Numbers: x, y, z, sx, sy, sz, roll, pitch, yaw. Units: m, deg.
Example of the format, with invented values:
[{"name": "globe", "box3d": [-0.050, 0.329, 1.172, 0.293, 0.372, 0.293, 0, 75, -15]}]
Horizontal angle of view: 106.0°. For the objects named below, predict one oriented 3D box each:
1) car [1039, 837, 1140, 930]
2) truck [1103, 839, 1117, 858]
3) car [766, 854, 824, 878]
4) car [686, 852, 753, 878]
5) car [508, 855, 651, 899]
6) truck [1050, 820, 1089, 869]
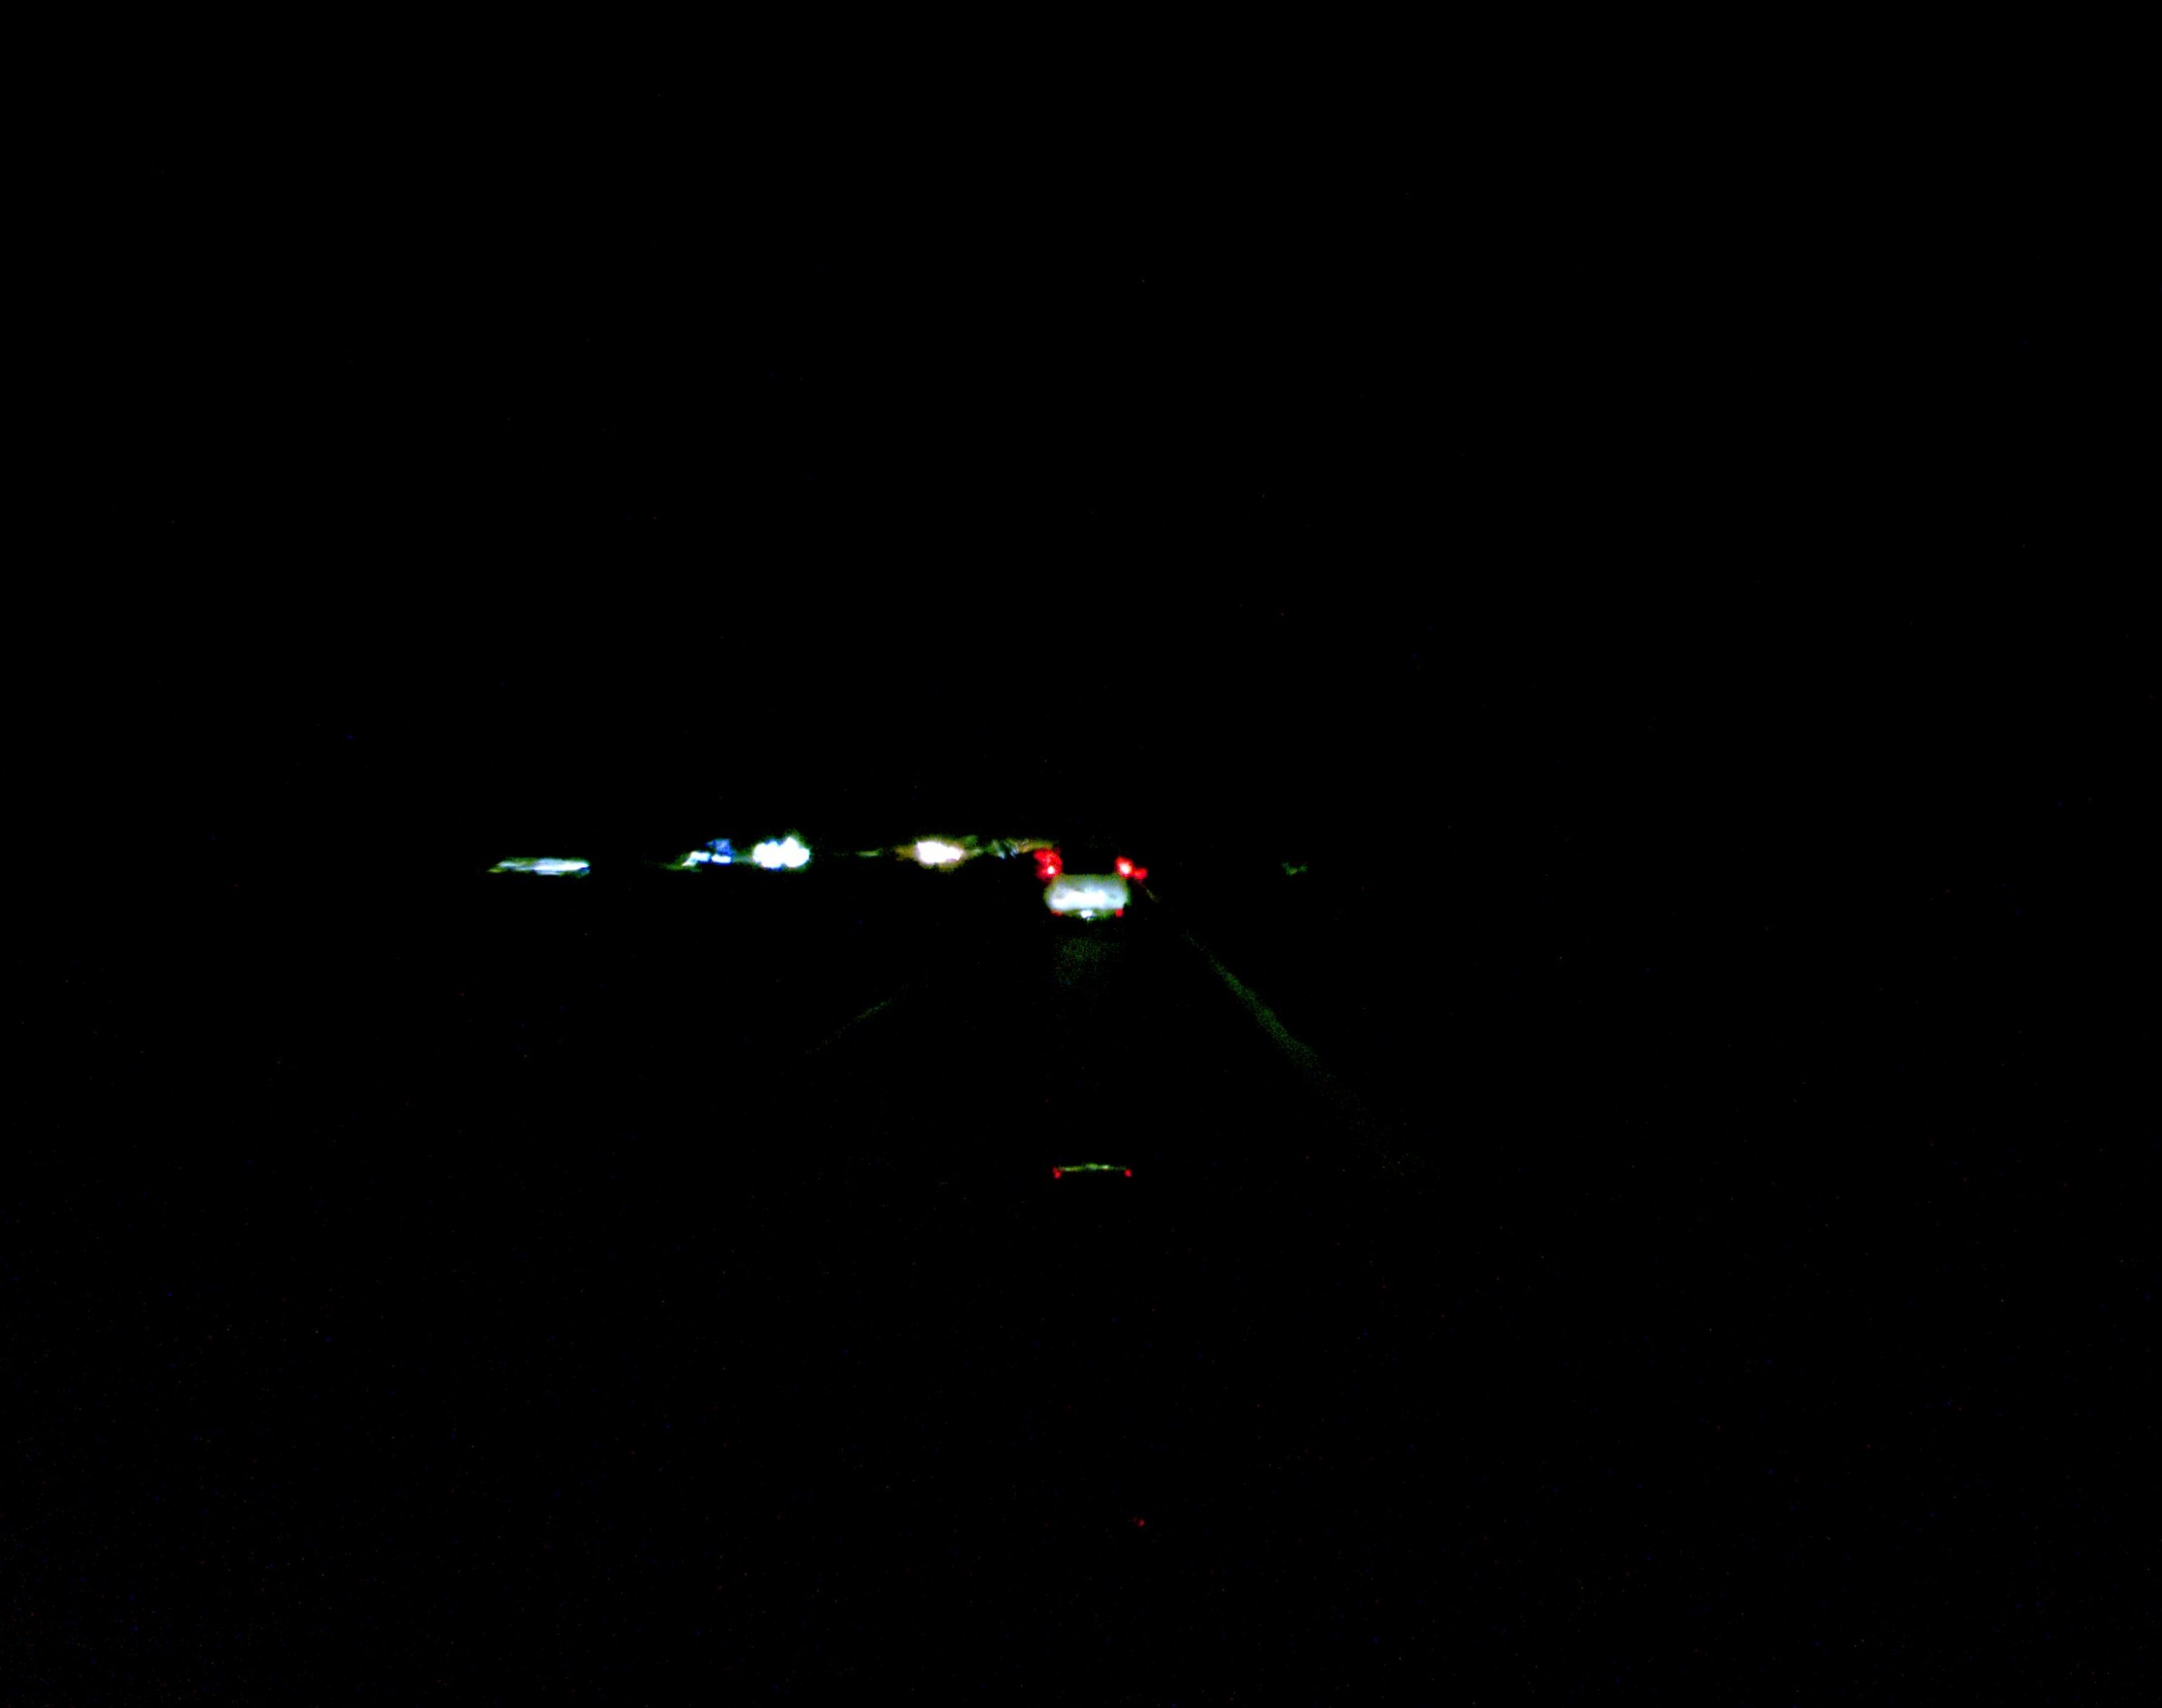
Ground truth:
[{"name": "car", "box3d": [0.221, 0.575, 18.391, 1.946, 1.792, 5.125, 0, 0, 1]}, {"name": "truck", "box3d": [7.761, -1.367, 218.745, 3.810, 4.915, 11.609, 0, 0, 1]}, {"name": "car", "box3d": [-18.909, 0.738, 54.072, 1.964, 1.464, 4.900, 2, 0, 1]}, {"name": "car", "box3d": [-21.954, 0.637, 49.650, 1.872, 1.464, 4.302, 2, 0, 3]}, {"name": "car", "box3d": [-18.898, 0.795, 31.068, 1.964, 1.464, 5.371, 2, 0, 1]}, {"name": "truck", "box3d": [-1.240, -1.071, 98.847, 4.152, 5.544, 13.078, 0, 0, 1]}]
